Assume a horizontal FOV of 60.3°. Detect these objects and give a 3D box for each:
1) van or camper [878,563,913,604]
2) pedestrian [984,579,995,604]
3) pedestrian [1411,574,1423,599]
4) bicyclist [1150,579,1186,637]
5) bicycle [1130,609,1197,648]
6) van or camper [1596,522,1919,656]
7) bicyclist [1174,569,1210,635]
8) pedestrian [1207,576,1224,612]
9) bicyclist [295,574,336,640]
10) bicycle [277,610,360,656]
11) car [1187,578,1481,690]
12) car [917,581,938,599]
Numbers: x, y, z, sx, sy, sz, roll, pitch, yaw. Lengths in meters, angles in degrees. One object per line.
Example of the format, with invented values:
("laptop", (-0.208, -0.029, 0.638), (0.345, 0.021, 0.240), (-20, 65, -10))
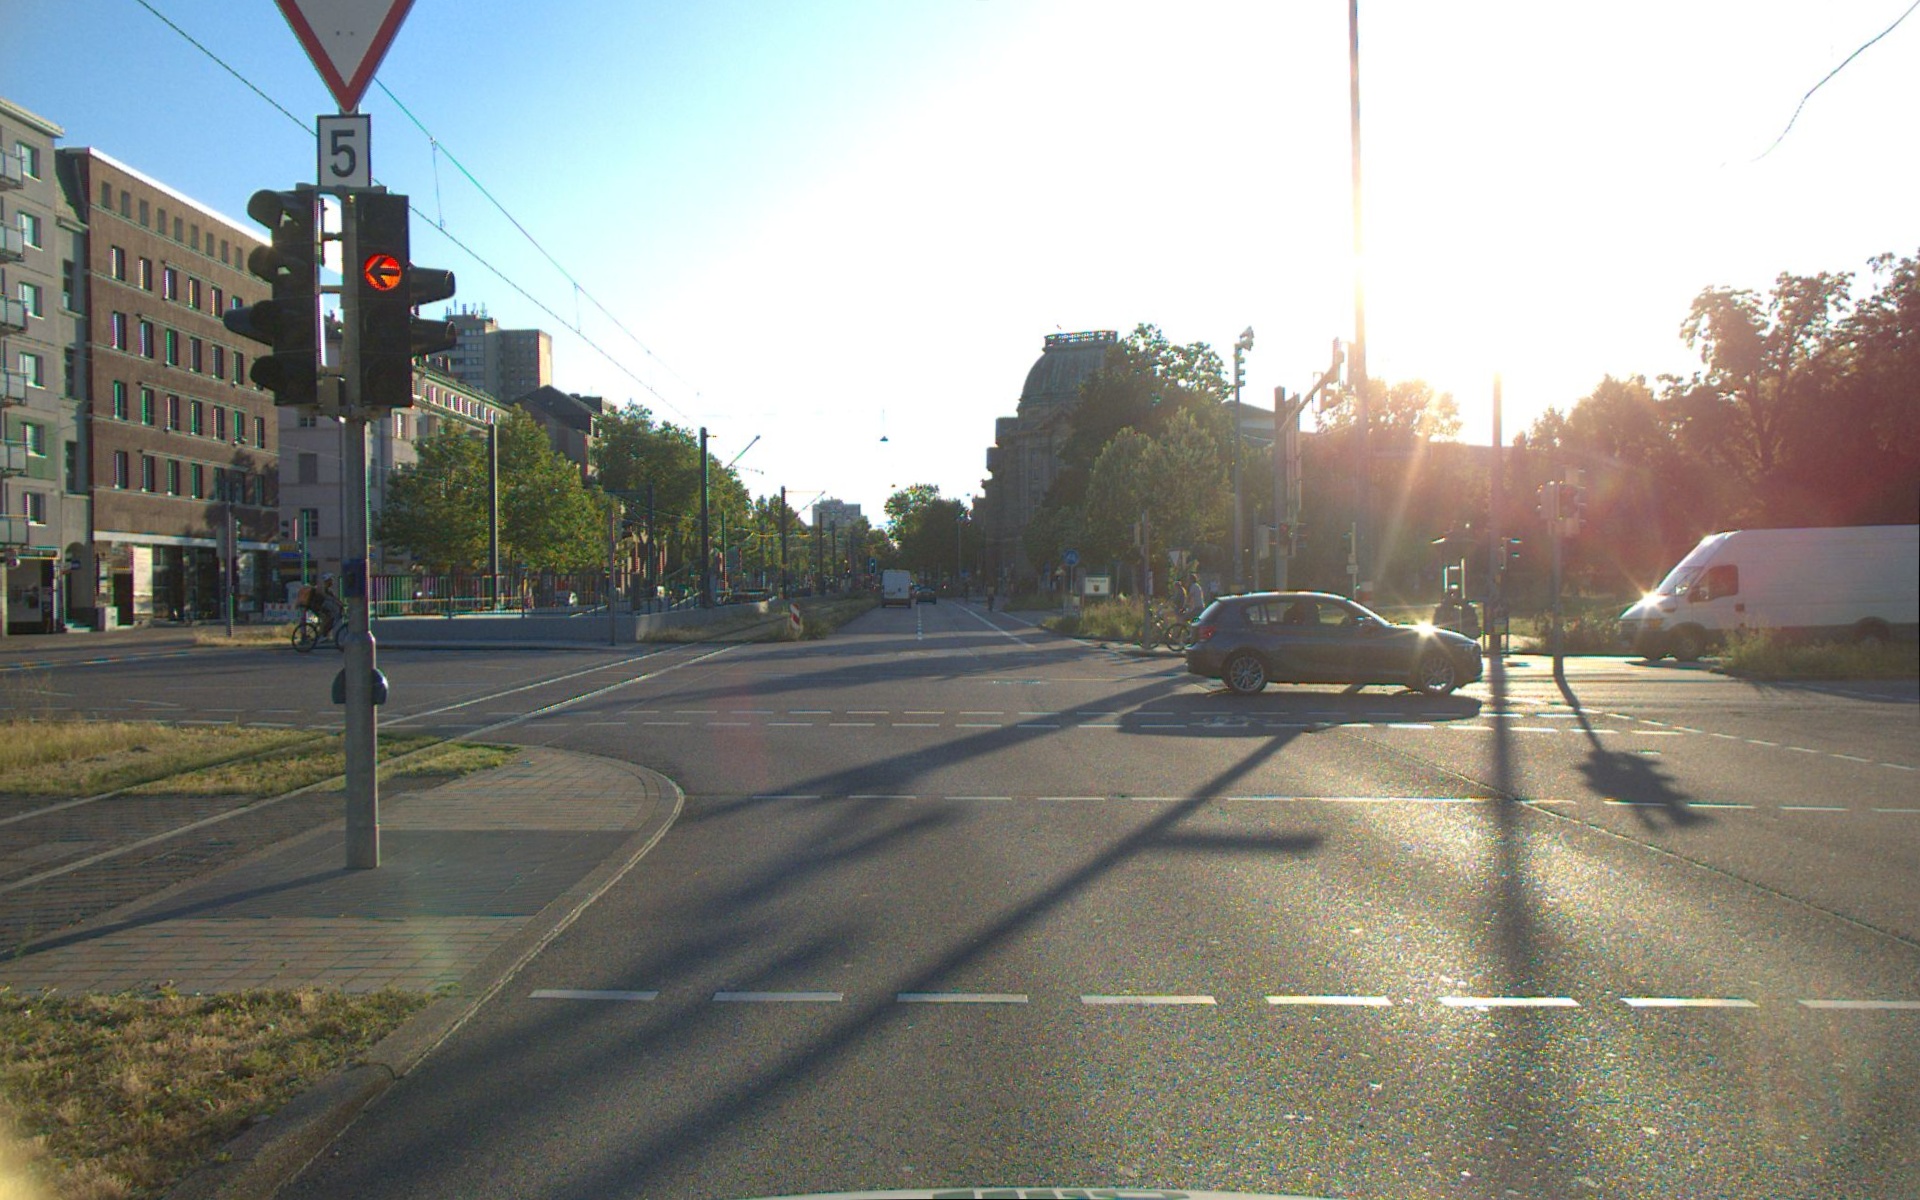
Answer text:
("van or camper", (-4.352, -1.145, 112.524), (2.217, 2.670, 4.503), (-1, 2, -1))
("pedestrian", (1.791, -0.526, 99.877), (0.603, 1.501, 0.800), (-1, 2, 3))
("pedestrian", (32.260, -0.974, 116.714), (0.780, 1.731, 0.801), (0, 0, 14))
("bicyclist", (5.402, 0.193, 43.072), (0.836, 1.467, 0.663), (-1, 1, 0))
("bicycle", (5.296, 0.748, 43.083), (1.683, 0.987, 0.609), (0, 2, 0))
("van or camper", (17.829, -0.276, 36.119), (6.897, 2.721, 2.599), (-1, 2, 1))
("bicyclist", (5.786, 0.048, 41.270), (0.781, 1.598, 0.663), (-1, 1, -3))
("pedestrian", (11.954, -0.271, 77.318), (0.668, 1.639, 0.612), (-1, 1, -1))
("bicyclist", (-14.584, 0.154, 37.417), (0.841, 1.467, 0.659), (1, 1, -22))
("bicycle", (-14.534, 0.744, 37.503), (1.704, 0.986, 0.700), (1, 2, -22))
("car", (5.317, 0.456, 23.889), (3.903, 1.459, 1.719), (1, 2, 4))
("car", (-2.725, -0.867, 138.959), (1.702, 1.410, 4.000), (-1, 2, -1))
